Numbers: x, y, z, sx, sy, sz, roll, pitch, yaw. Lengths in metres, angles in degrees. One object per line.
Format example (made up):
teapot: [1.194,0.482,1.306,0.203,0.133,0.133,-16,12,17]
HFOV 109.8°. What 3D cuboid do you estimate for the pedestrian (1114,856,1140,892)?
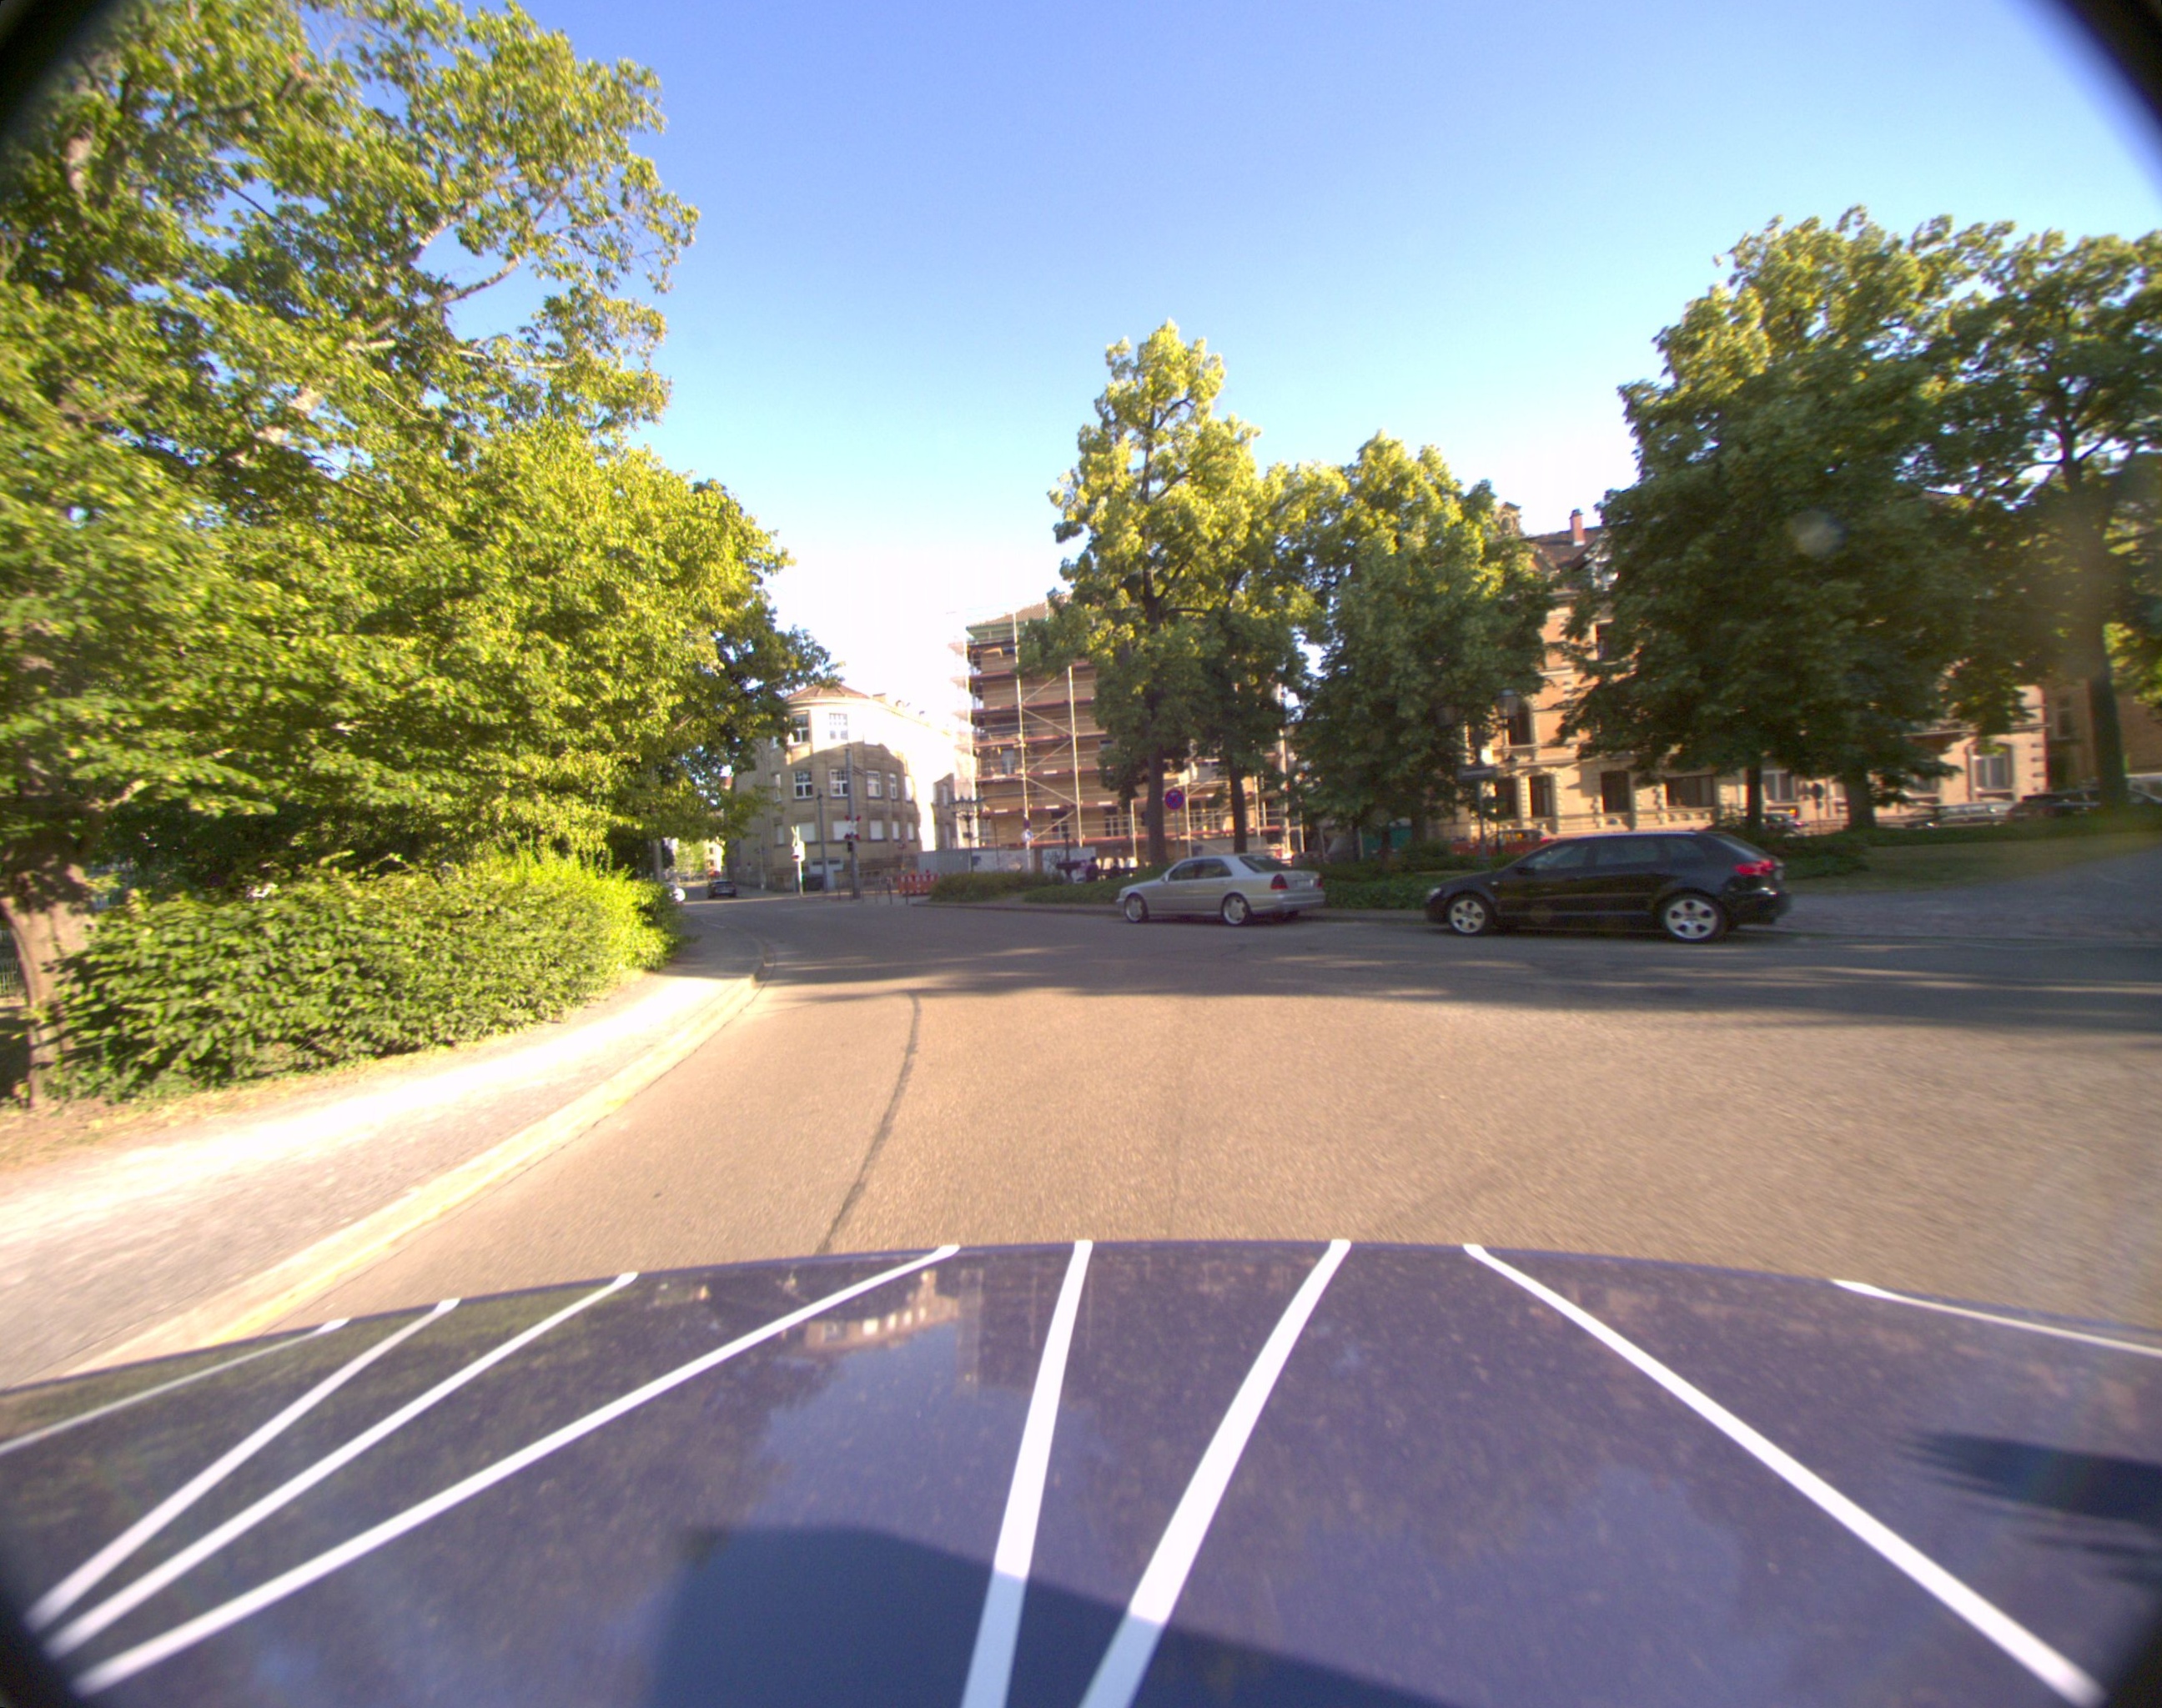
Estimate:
pedestrian: [1.625,0.714,27.004,0.553,1.226,0.723,-4,0,-26]

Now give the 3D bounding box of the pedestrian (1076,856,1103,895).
pedestrian: [0.294,0.750,26.328,0.553,1.290,0.764,-4,0,-26]

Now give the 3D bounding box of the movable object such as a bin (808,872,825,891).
movable object such as a bin: [-20.956,2.164,60.211,1.187,1.420,1.919,-4,0,-20]

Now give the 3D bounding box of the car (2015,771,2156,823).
car: [50.571,-2.803,38.414,1.889,2.248,4.223,-3,0,10]

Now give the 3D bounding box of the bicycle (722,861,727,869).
bicycle: [-53.646,1.700,114.369,0.458,1.202,1.875,-3,0,-18]

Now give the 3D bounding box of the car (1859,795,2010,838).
car: [38.896,-1.673,34.757,4.214,1.646,2.001,-4,1,10]

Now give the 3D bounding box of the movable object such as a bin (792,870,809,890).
movable object such as a bin: [-22.414,2.055,60.790,1.150,1.477,1.625,-4,0,-20]

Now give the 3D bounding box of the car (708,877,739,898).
car: [-28.002,2.614,59.454,1.752,1.439,4.199,-3,0,-30]

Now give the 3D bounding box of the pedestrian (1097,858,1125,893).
pedestrian: [1.065,0.771,26.822,0.553,1.188,0.882,-4,0,-26]

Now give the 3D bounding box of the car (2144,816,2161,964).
car: [11.371,0.286,5.784,1.621,1.431,3.596,-2,-1,-43]

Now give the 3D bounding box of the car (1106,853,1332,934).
car: [2.703,0.797,15.808,1.789,1.407,4.487,-1,-2,-40]

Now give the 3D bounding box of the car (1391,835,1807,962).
car: [6.978,0.572,10.654,1.834,1.407,4.483,-1,-2,-43]

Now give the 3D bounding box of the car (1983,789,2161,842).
car: [36.431,-1.371,27.768,4.214,1.646,1.893,-3,0,10]

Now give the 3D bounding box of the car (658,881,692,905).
car: [-27.573,2.621,51.661,1.691,1.444,4.095,-3,0,-25]

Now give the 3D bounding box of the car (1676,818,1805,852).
car: [31.322,-0.892,36.214,4.214,1.270,1.914,-4,0,10]
